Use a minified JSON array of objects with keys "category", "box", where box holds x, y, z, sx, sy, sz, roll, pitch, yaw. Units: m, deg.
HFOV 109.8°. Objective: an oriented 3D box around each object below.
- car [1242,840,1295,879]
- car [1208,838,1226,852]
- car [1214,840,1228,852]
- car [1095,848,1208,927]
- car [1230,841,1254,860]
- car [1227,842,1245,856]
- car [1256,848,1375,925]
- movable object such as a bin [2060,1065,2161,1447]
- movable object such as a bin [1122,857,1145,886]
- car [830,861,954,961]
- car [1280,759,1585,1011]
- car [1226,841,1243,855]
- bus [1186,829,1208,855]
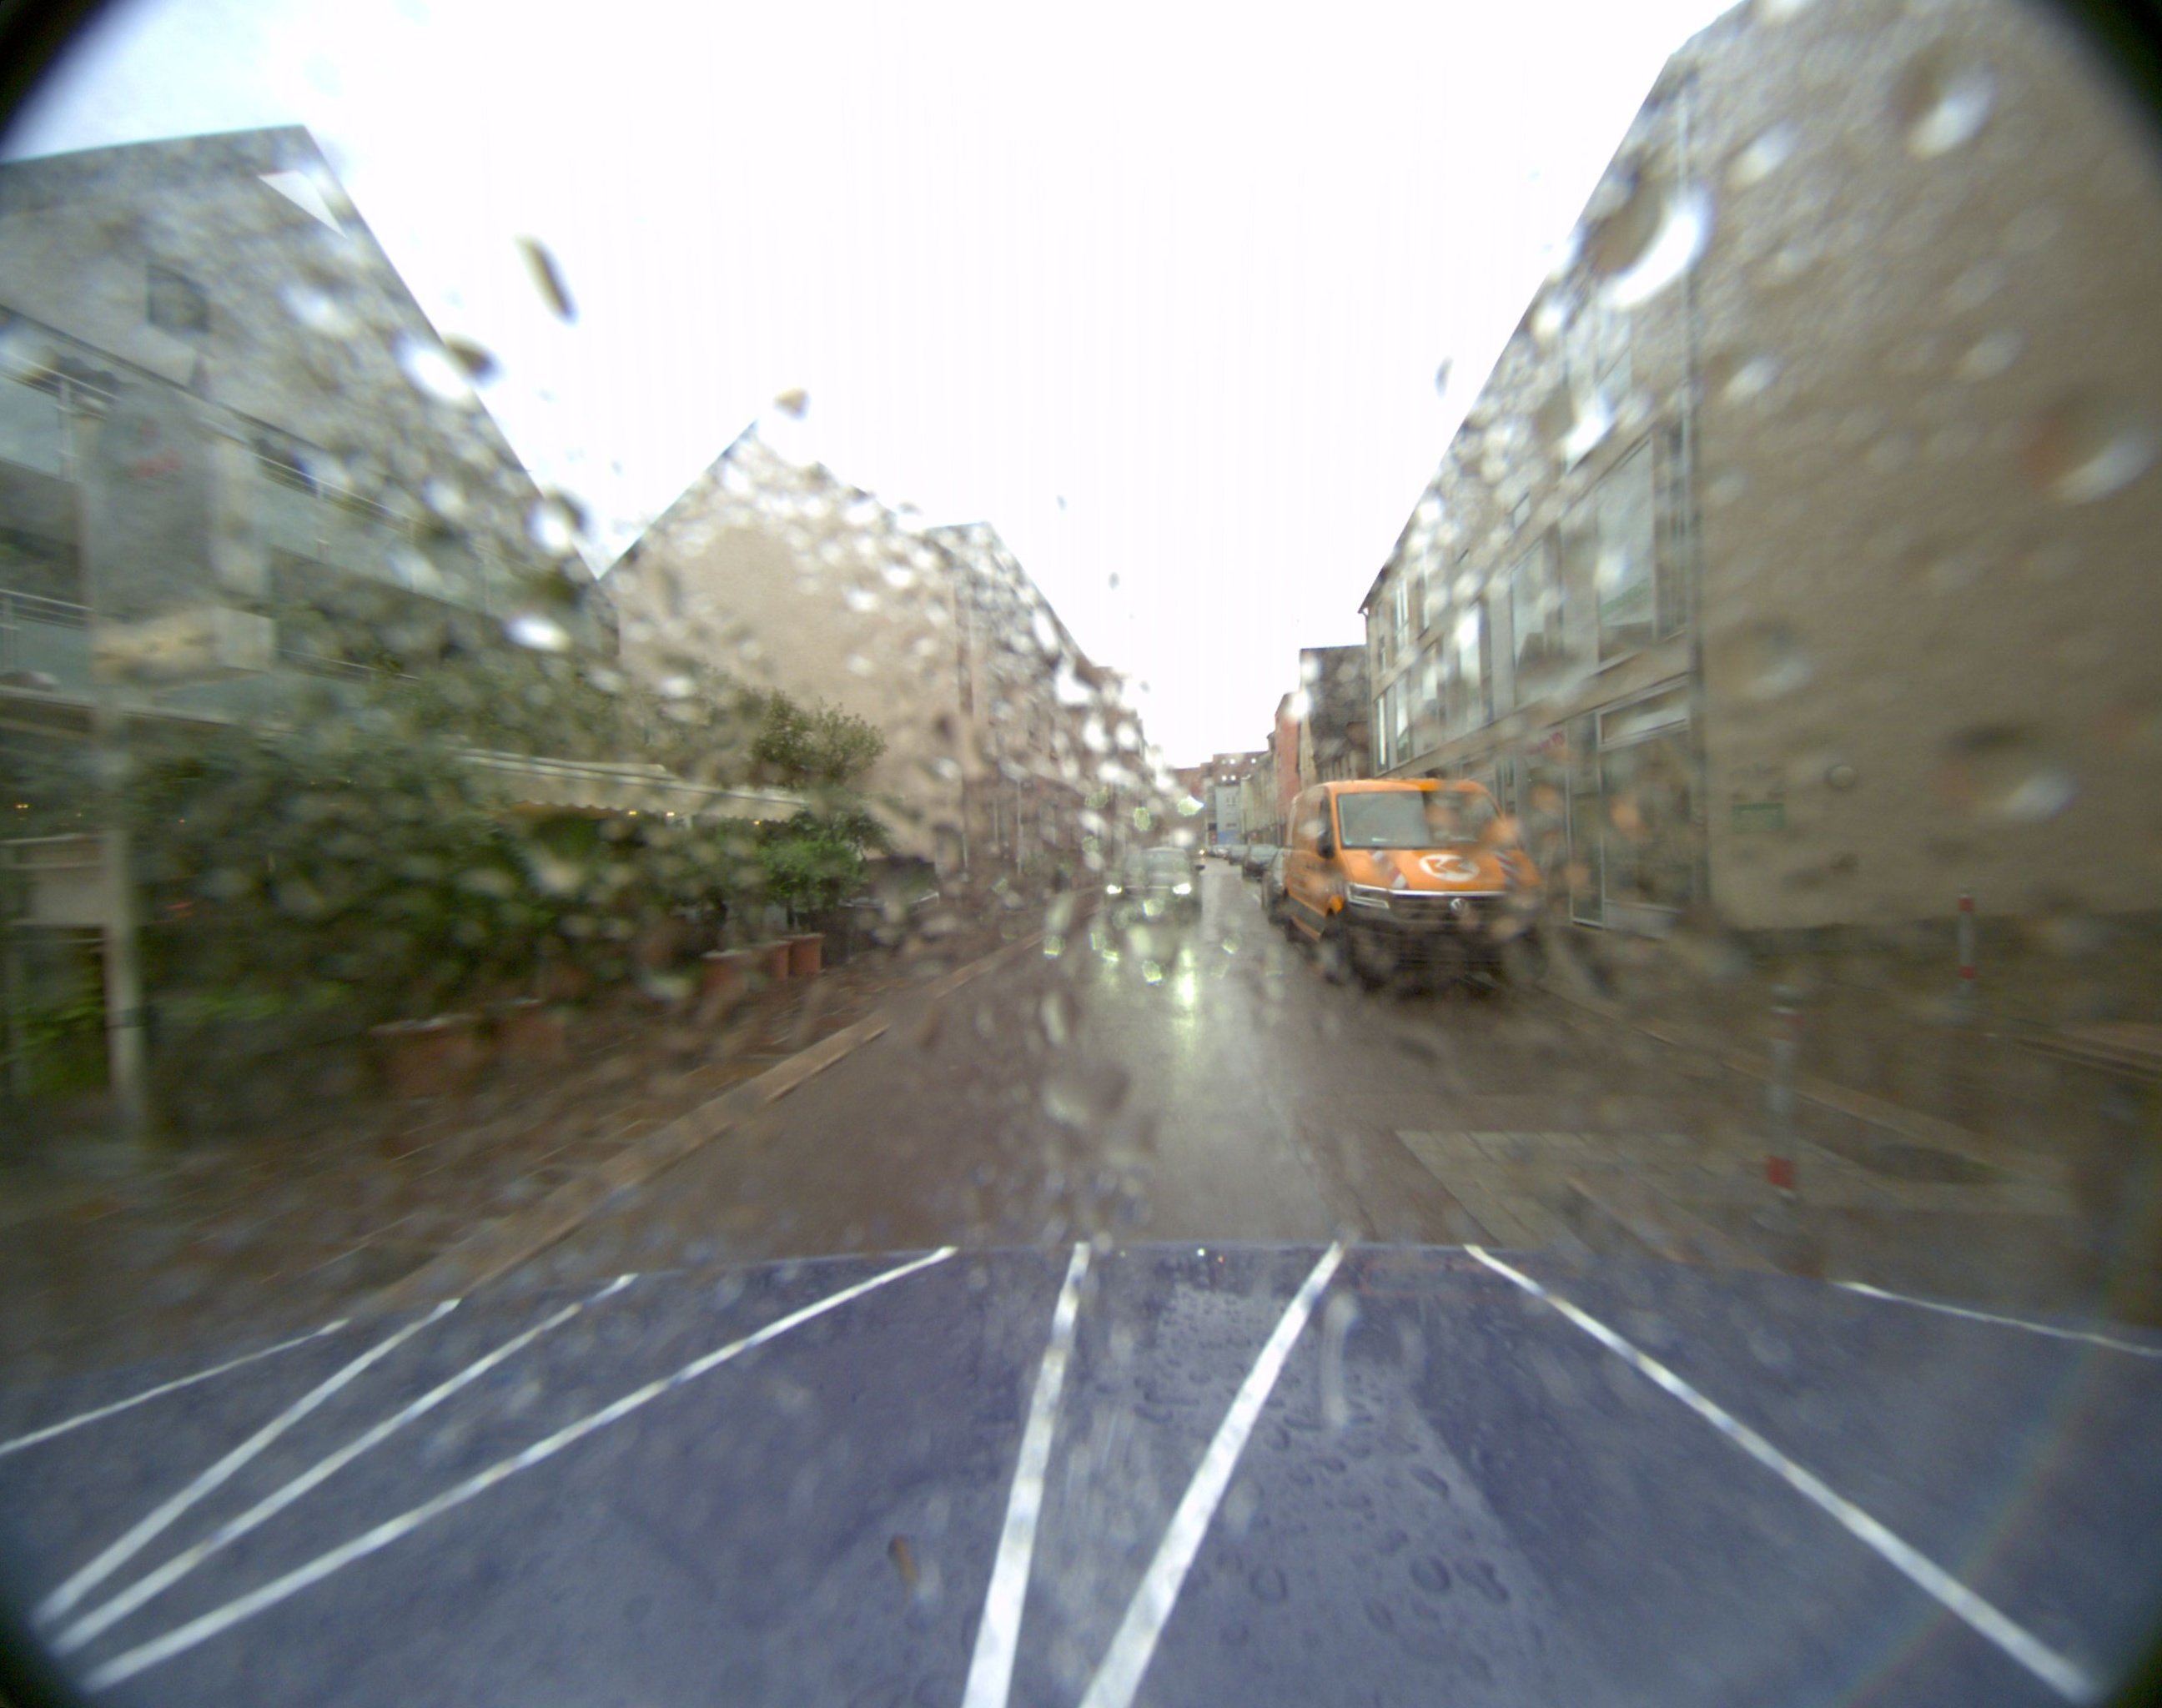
[{"category":"car","box":[7.945,0.196,32.507,1.738,1.516,3.932,-1,1,7]},{"category":"car","box":[16.128,-1.068,90.091,1.997,1.587,4.002,-1,1,10]},{"category":"car","box":[17.619,-0.984,95.432,1.630,1.359,3.491,-2,0,10]},{"category":"car","box":[1.691,0.623,16.519,1.945,1.394,4.423,-2,1,11]},{"category":"car","box":[12.172,-0.297,57.720,1.630,1.359,3.491,-2,0,10]},{"category":"car","box":[15.281,-0.496,74.823,1.630,1.359,3.491,-2,0,10]},{"category":"car","box":[4.708,0.566,15.828,1.759,1.348,4.484,-1,0,9]},{"category":"movable object such as a bin","box":[3.037,1.048,1.875,0.582,0.922,0.481,-2,1,9]},{"category":"movable object such as a bin","box":[1.955,0.640,28.168,0.733,1.016,0.639,-2,1,12]},{"category":"car","box":[-3.242,0.851,13.188,1.739,1.349,3.931,-2,1,-13]},{"category":"car","box":[3.909,0.252,9.759,1.997,2.227,5.864,-1,1,9]},{"category":"car","box":[15.953,-0.604,78.991,1.630,1.359,3.491,-2,0,10]},{"category":"bus","box":[15.059,-1.571,98.920,2.609,3.175,7.379,-1,1,8]}]
